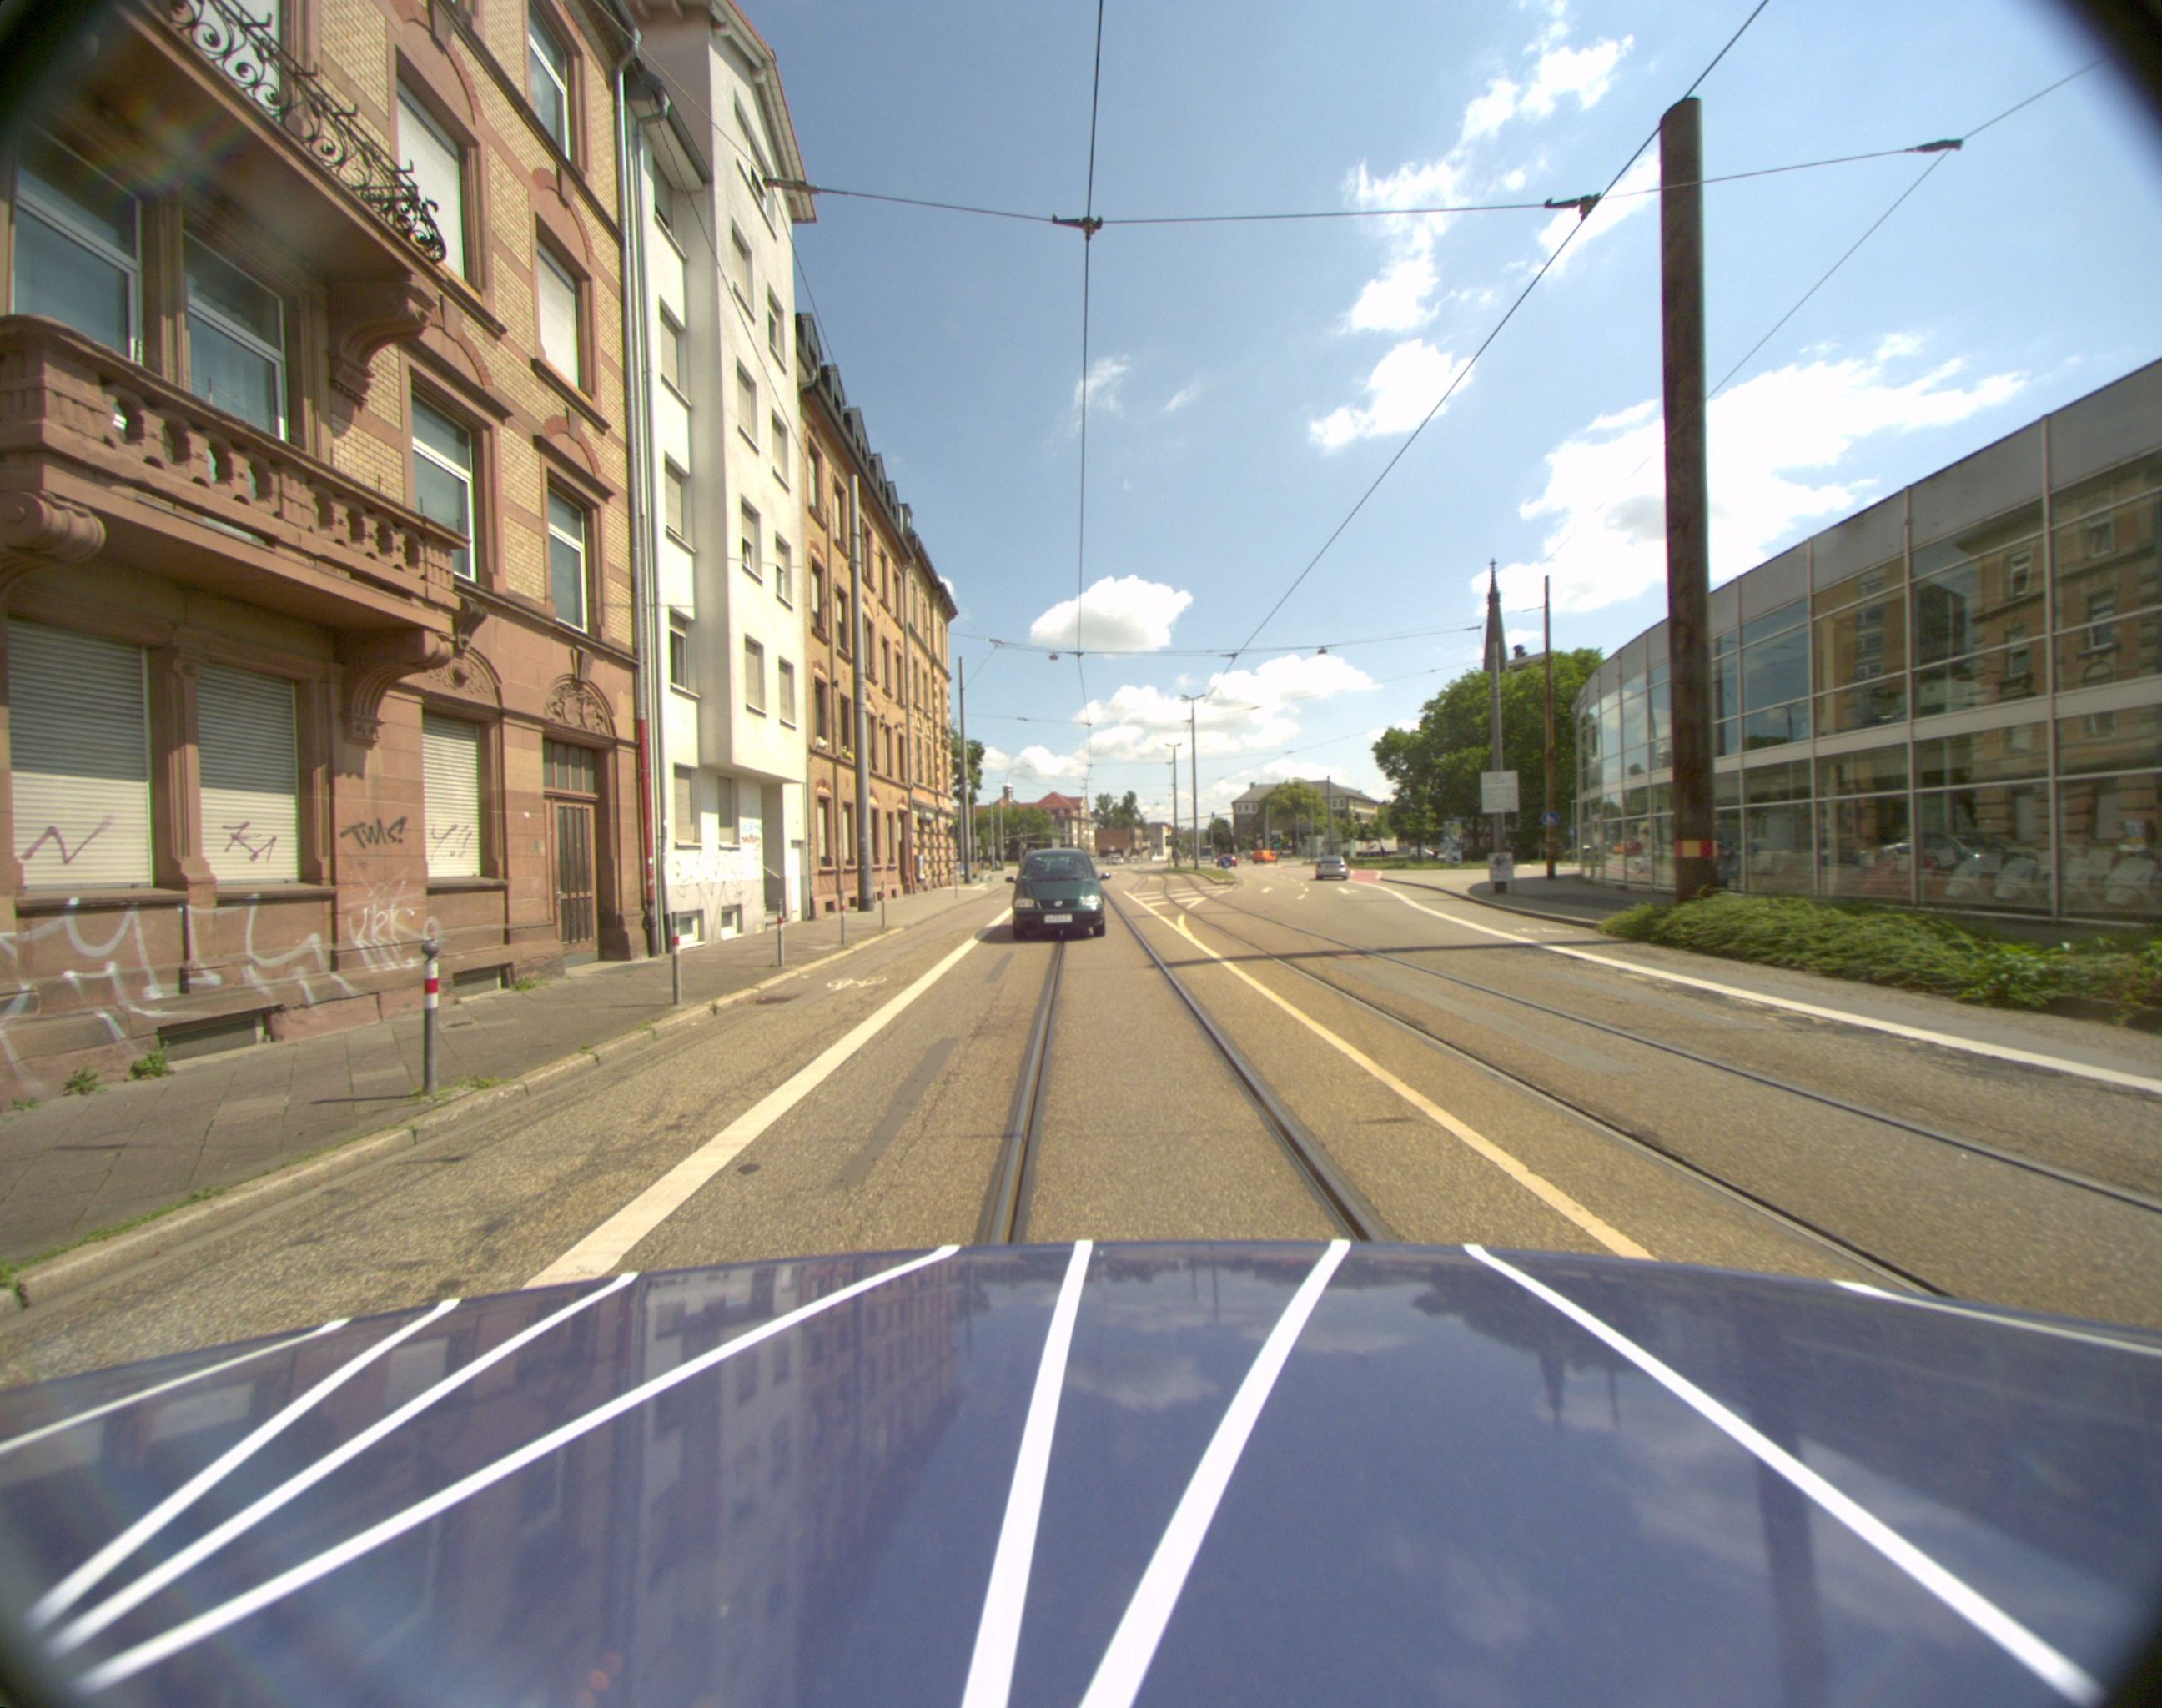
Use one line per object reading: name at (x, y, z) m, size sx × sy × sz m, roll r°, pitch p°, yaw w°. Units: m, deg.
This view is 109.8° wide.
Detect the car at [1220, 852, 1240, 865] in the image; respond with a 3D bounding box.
car at (16.933, 0.483, 86.485) m, size 1.706 × 1.419 × 3.902 m, roll 0°, pitch 0°, yaw 2°

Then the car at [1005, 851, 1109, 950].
car at (-0.424, 0.830, 15.594) m, size 1.819 × 1.707 × 4.085 m, roll -1°, pitch 0°, yaw 0°

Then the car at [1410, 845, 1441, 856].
car at (52.528, -0.484, 116.049) m, size 4.164 × 1.633 × 1.632 m, roll -1°, pitch 0°, yaw 18°

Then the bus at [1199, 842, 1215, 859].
bus at (26.344, -0.711, 158.244) m, size 2.947 × 3.427 × 7.954 m, roll -1°, pitch 0°, yaw 11°

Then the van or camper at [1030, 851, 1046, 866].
van or camper at (-8.203, 0.903, 144.310) m, size 2.234 × 2.719 × 5.515 m, roll -2°, pitch 0°, yaw -12°

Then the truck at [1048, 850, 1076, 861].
truck at (-5.049, 0.441, 208.755) m, size 3.347 × 2.980 × 8.751 m, roll -1°, pitch 0°, yaw 32°

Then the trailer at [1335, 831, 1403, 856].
trailer at (49.191, -1.789, 129.507) m, size 13.440 × 4.053 × 2.942 m, roll -2°, pitch 1°, yaw -31°

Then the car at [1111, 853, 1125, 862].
car at (6.792, 0.645, 140.436) m, size 1.772 × 1.594 × 4.490 m, roll 0°, pitch 0°, yaw -8°

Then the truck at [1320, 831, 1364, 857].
truck at (43.271, -1.705, 125.989) m, size 6.889 × 4.095 × 2.957 m, roll -1°, pitch 1°, yaw -30°

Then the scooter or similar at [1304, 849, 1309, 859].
scooter or similar at (27.422, 0.036, 92.296) m, size 0.462 × 1.193 × 0.549 m, roll -1°, pitch 0°, yaw -1°

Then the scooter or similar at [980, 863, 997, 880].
scooter or similar at (-6.544, 1.225, 53.743) m, size 0.949 × 1.173 × 1.086 m, roll 0°, pitch 1°, yaw 6°

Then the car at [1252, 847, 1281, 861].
car at (25.552, -0.006, 104.474) m, size 4.376 × 1.855 × 1.912 m, roll 0°, pitch 0°, yaw -44°

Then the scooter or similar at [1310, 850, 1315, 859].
scooter or similar at (28.132, 0.075, 92.382) m, size 0.416 × 1.118 × 0.556 m, roll -1°, pitch 0°, yaw -1°

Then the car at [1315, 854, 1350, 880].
car at (14.587, 0.719, 44.166) m, size 1.816 × 1.412 × 4.193 m, roll 0°, pitch 0°, yaw 18°
